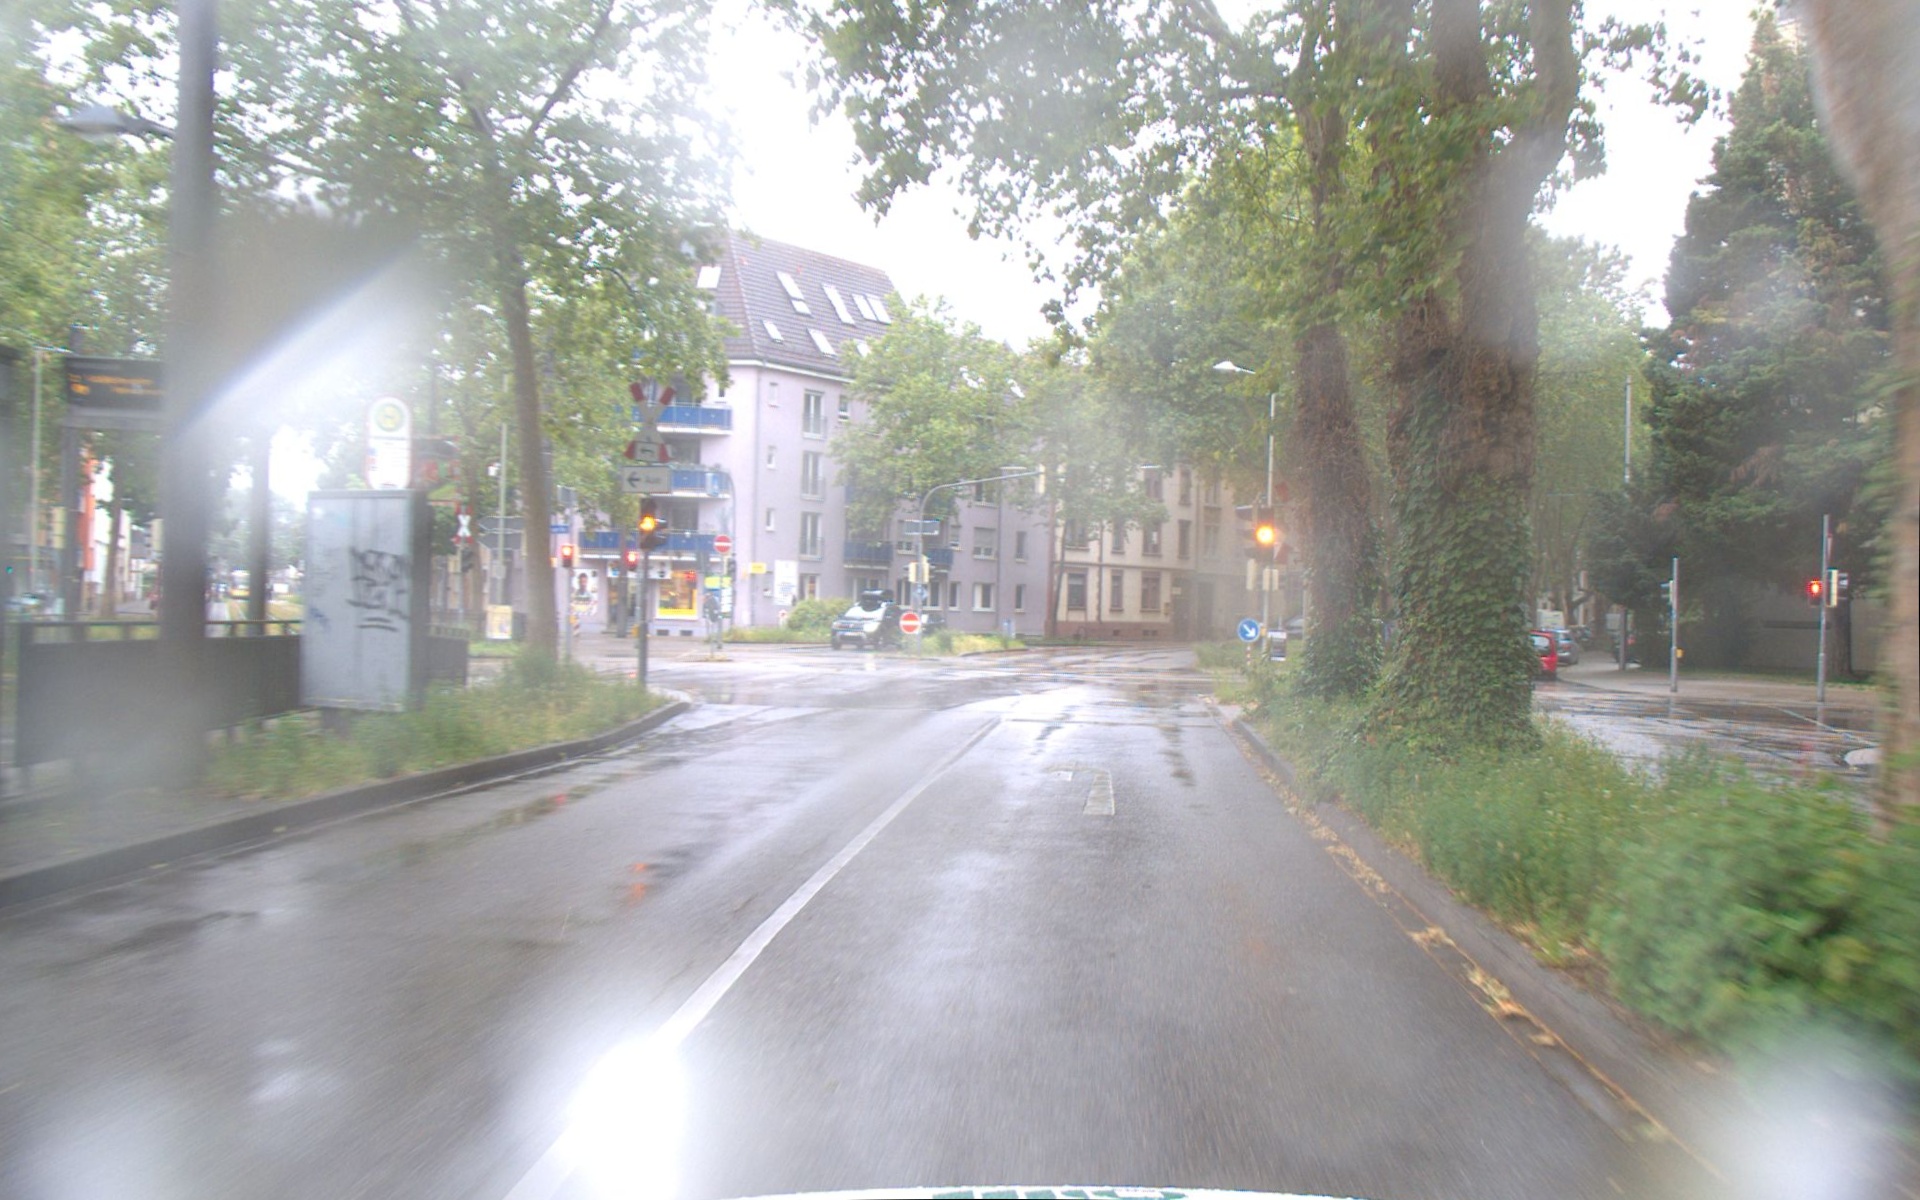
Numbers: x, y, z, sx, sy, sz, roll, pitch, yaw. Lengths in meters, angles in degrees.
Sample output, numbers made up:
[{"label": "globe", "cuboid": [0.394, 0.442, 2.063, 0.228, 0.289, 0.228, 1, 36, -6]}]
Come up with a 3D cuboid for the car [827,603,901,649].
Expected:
[{"label": "car", "cuboid": [-3.345, 0.894, 58.242, 1.688, 1.579, 3.562, 0, 0, 12]}]

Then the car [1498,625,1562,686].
[{"label": "car", "cuboid": [20.385, 1.961, 59.075, 1.953, 2.049, 3.999, -1, 0, 22]}]

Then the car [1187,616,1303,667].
[{"label": "car", "cuboid": [8.838, 1.272, 51.213, 3.405, 1.550, 1.521, -1, 0, 15]}]

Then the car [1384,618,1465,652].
[{"label": "car", "cuboid": [23.153, 1.742, 82.447, 3.544, 1.646, 1.676, -1, -1, 35]}]

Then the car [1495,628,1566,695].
[{"label": "car", "cuboid": [18.498, 1.946, 53.557, 1.953, 2.049, 3.999, -1, 0, 22]}]
